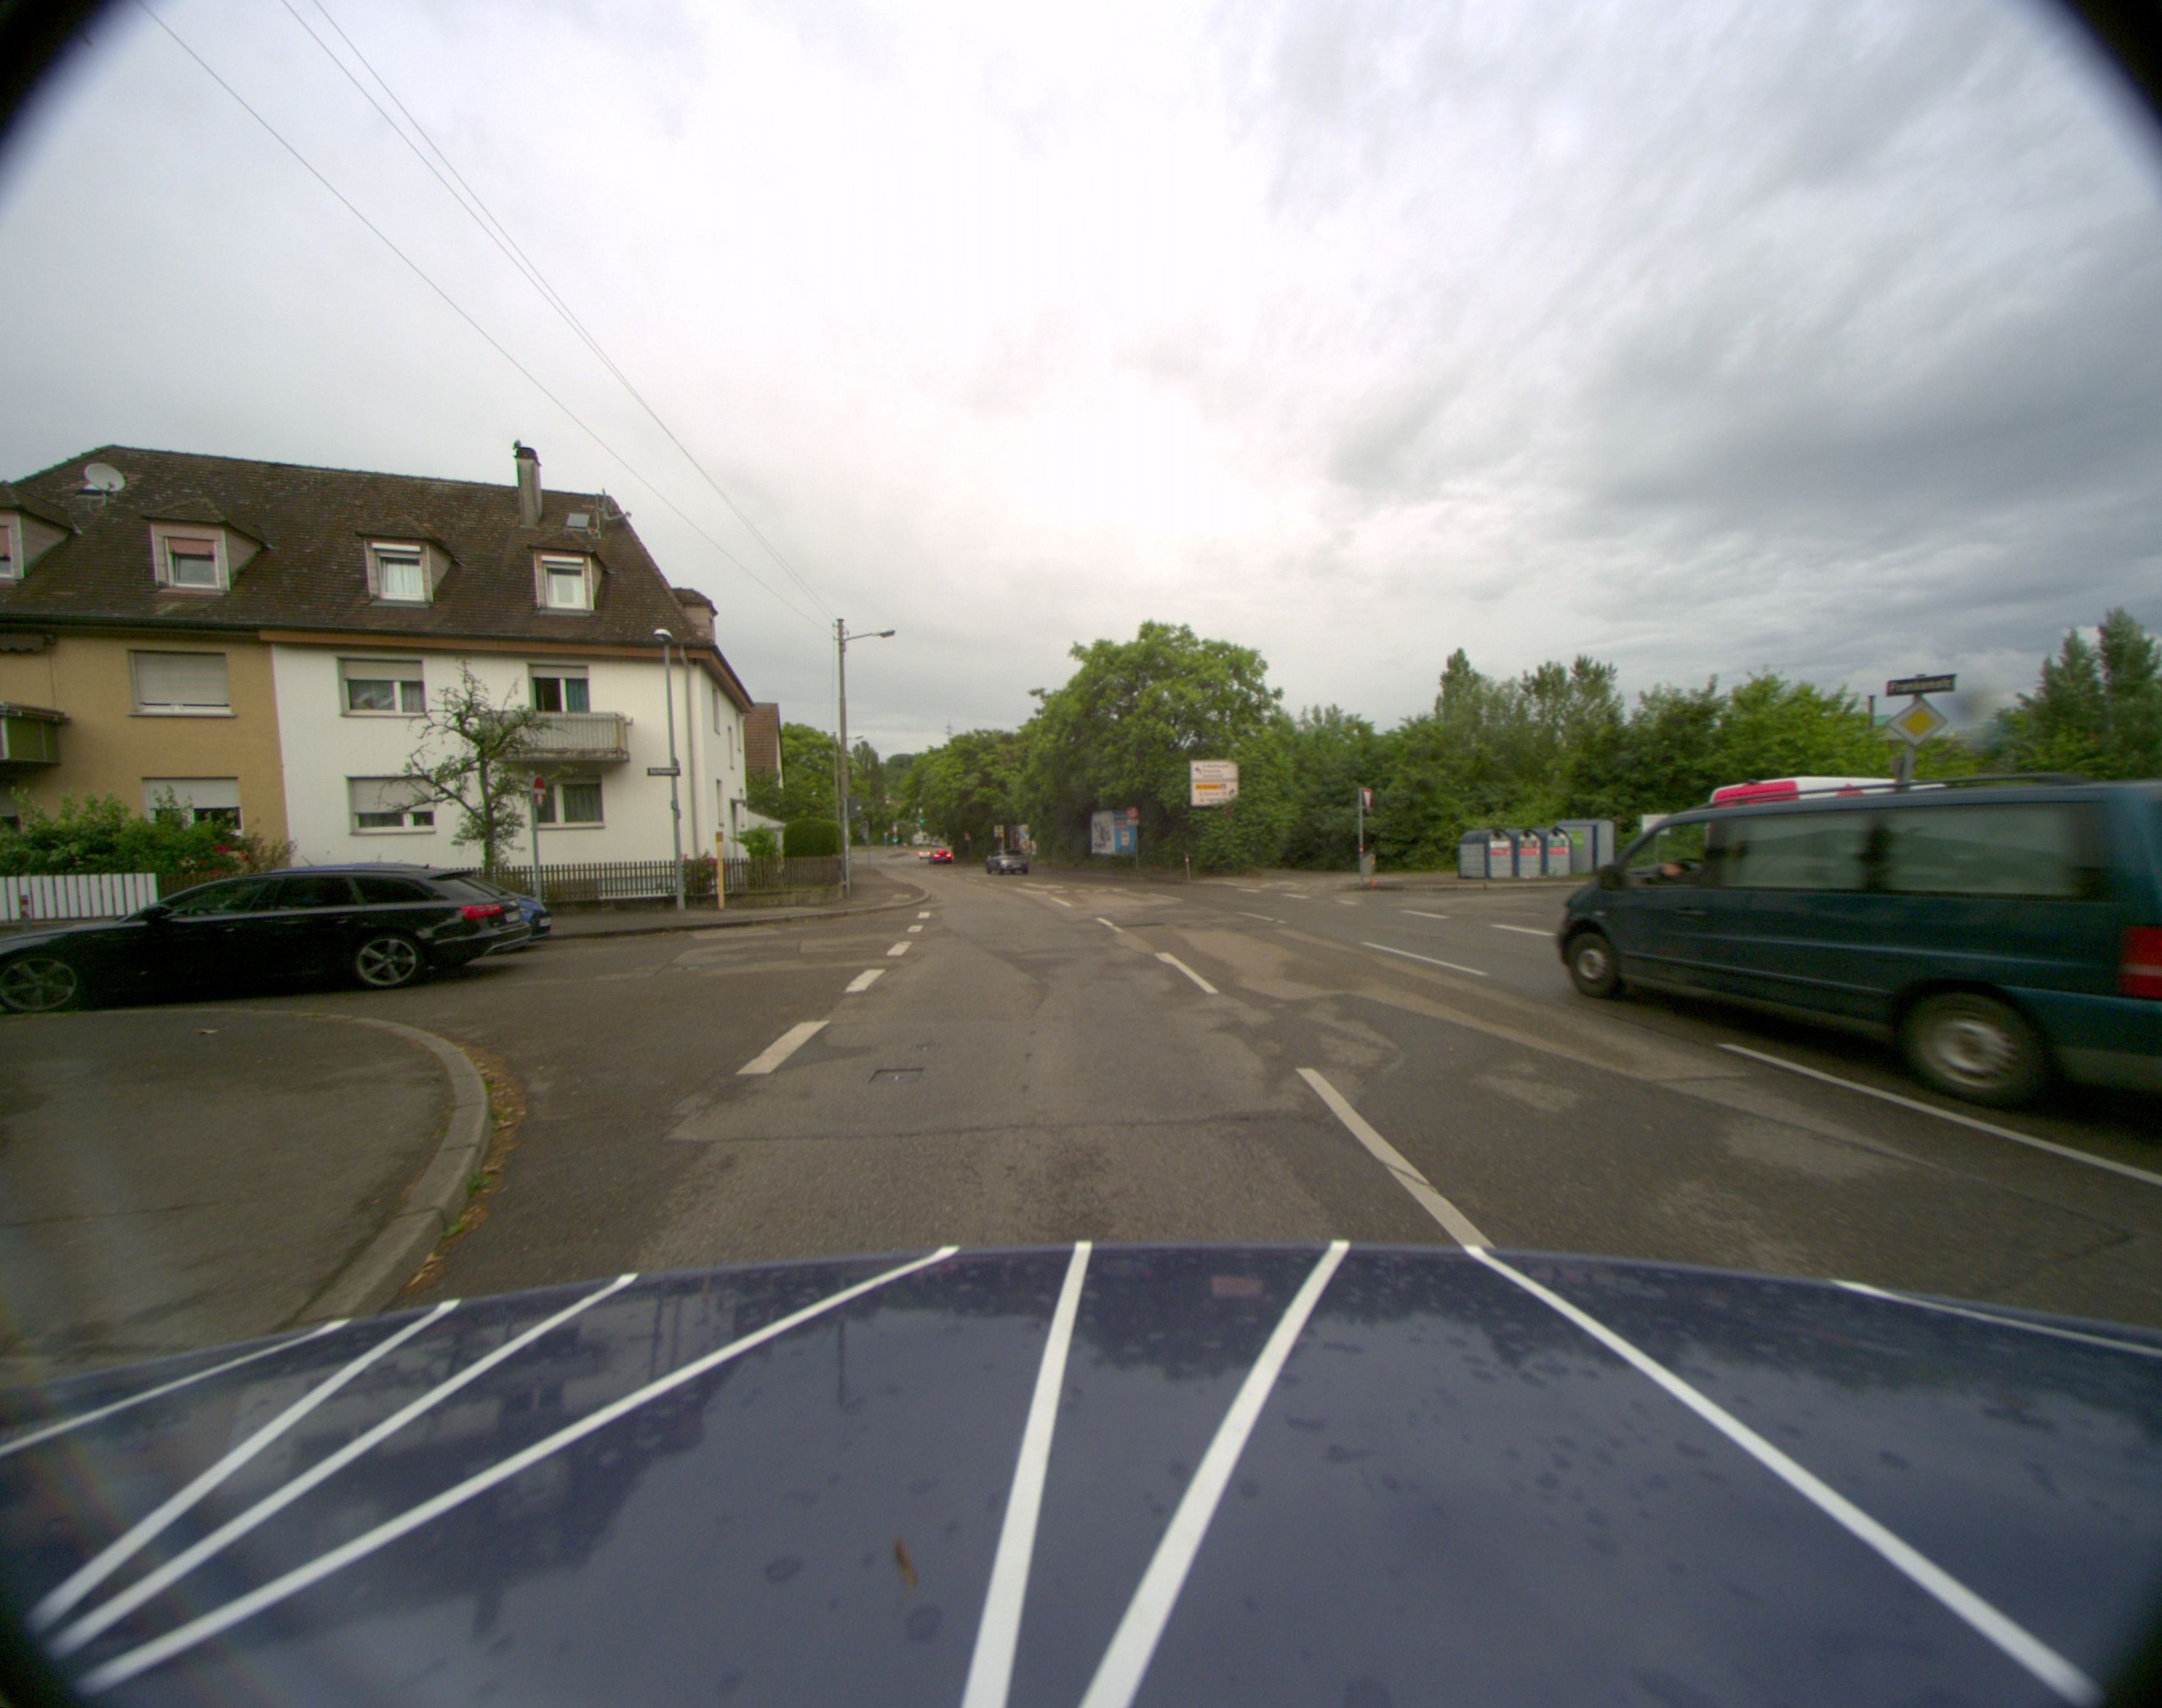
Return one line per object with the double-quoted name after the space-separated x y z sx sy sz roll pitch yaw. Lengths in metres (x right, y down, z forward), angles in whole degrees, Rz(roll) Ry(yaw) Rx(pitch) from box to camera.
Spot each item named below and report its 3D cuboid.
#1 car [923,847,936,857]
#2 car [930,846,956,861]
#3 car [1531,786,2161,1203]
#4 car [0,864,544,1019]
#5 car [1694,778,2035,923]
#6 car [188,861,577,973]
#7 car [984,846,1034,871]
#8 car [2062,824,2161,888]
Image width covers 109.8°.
-23.264 -0.360 116.723 1.674 1.460 3.776 -1 1 -9 "car"
-14.707 -0.080 80.793 2.002 1.435 4.764 0 2 -20 "car"
5.853 0.601 5.767 1.963 1.920 4.681 -1 1 -2 "car"
-9.791 0.929 9.382 4.823 1.472 1.882 -1 1 -23 "car"
16.611 -0.181 16.121 6.828 2.640 2.259 -2 2 -18 "car"
-10.786 0.901 12.149 4.129 1.472 1.883 -1 1 -16 "car"
-4.465 0.247 46.476 1.903 1.453 3.992 -1 1 -23 "car"
30.740 0.007 21.796 4.256 1.620 1.996 -2 2 -21 "car"
